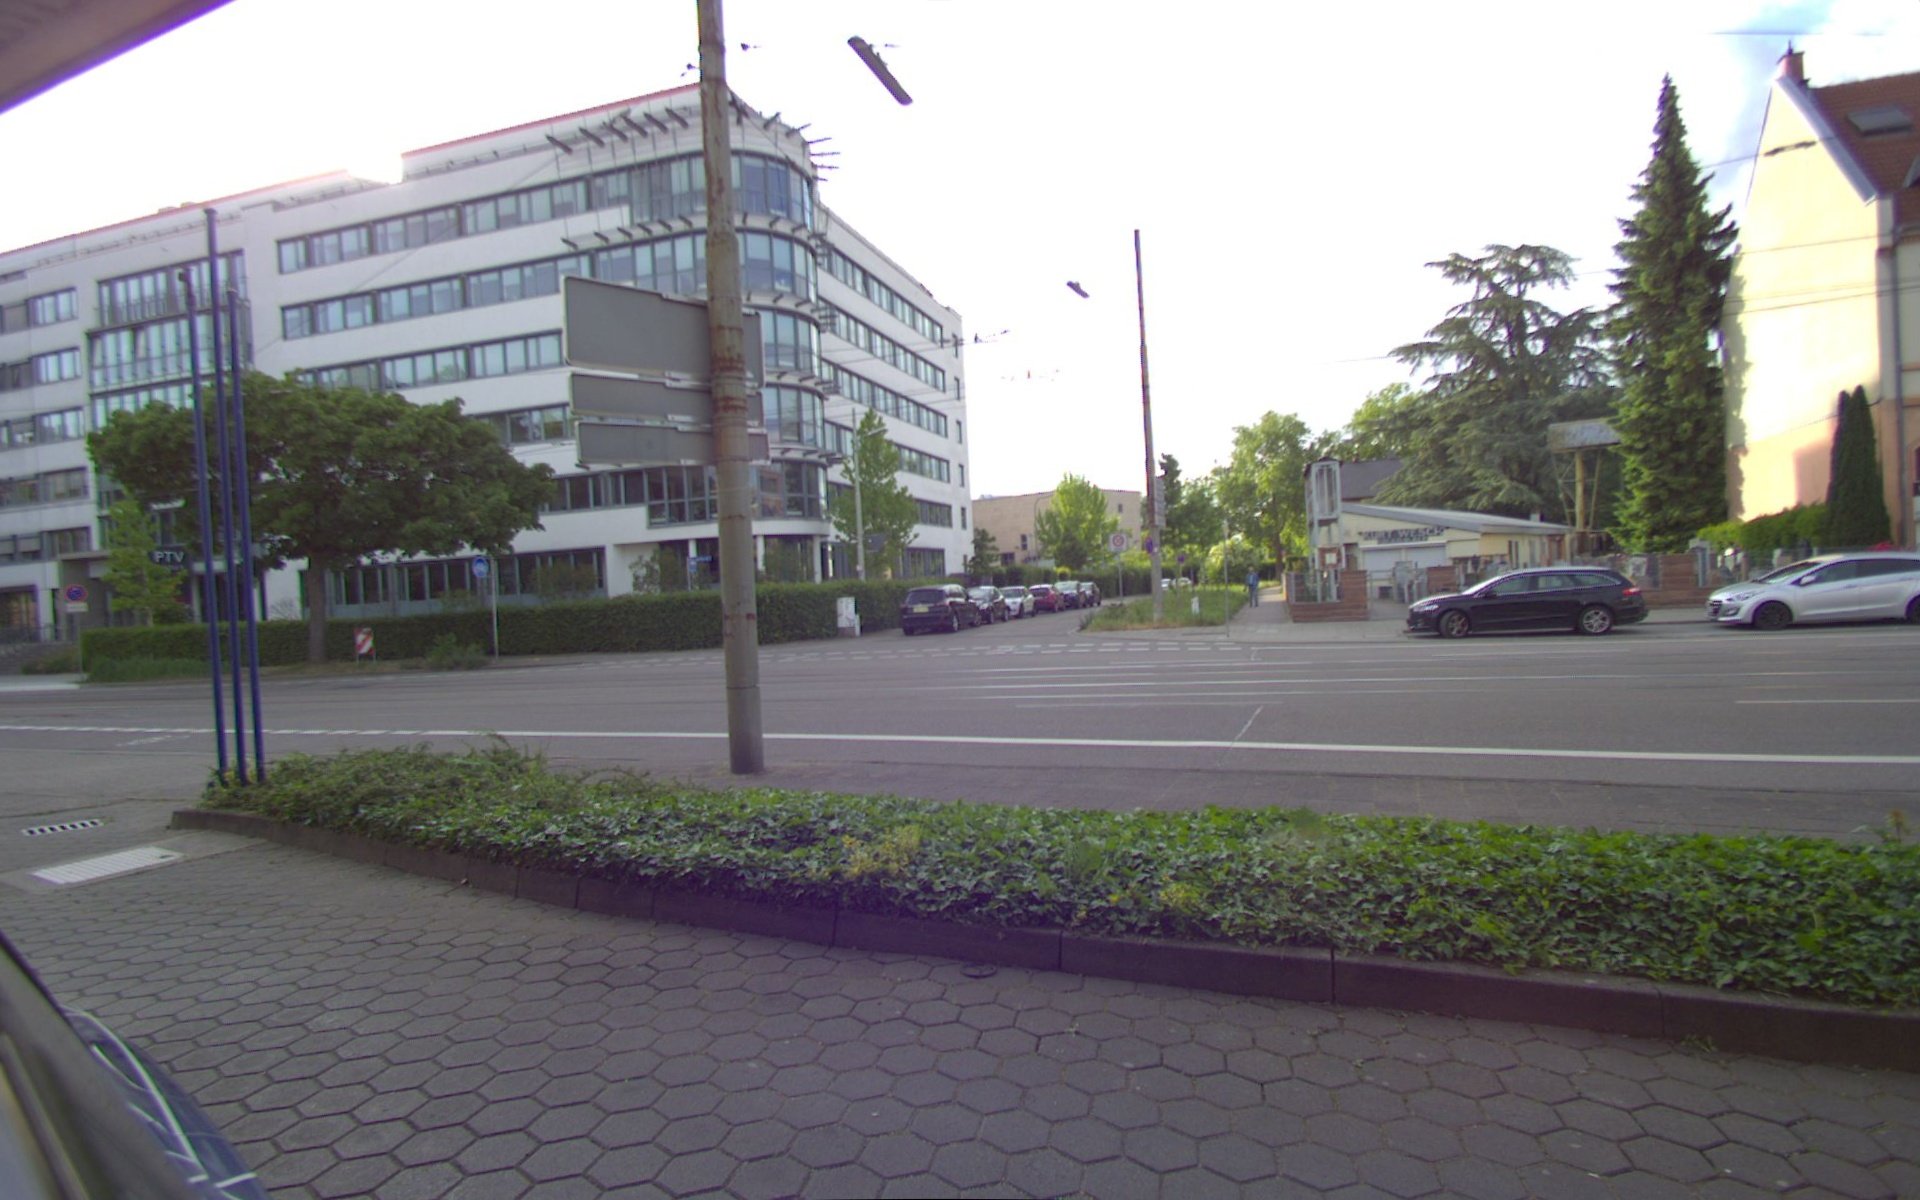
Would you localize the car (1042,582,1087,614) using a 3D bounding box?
[{"bbox_3d":[5.979,-0.129,57.662,1.773,1.653,4.064,-4,0,17],"label":"car"}]

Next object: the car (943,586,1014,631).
[{"bbox_3d":[0.796,0.293,40.895,1.773,1.565,4.083,-4,0,17],"label":"car"}]

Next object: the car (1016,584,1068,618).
[{"bbox_3d":[4.285,0.029,52.361,1.773,1.552,4.018,-4,0,17],"label":"car"}]

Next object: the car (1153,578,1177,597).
[{"bbox_3d":[20.423,-1.257,100.615,1.774,1.653,4.060,-4,0,19],"label":"car"}]

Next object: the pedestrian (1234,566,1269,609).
[{"bbox_3d":[12.708,-0.523,44.157,0.988,1.843,1.096,-1,0,-28],"label":"pedestrian"}]

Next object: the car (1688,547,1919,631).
[{"bbox_3d":[18.491,-0.252,21.500,4.459,1.486,1.986,-4,0,22],"label":"car"}]

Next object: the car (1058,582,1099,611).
[{"bbox_3d":[7.370,-0.226,62.673,1.773,1.653,4.064,-4,0,17],"label":"car"}]

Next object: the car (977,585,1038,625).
[{"bbox_3d":[2.204,0.181,45.757,1.773,1.565,4.083,-4,0,17],"label":"car"}]

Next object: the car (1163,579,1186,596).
[{"bbox_3d":[22.562,-1.285,106.313,1.774,1.653,4.060,-4,0,19],"label":"car"}]

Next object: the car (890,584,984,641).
[{"bbox_3d":[-0.724,0.385,35.538,1.962,1.625,4.411,-4,2,17],"label":"car"}]

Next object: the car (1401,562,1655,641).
[{"bbox_3d":[12.914,0.048,23.417,4.791,1.507,1.986,-3,0,22],"label":"car"}]
